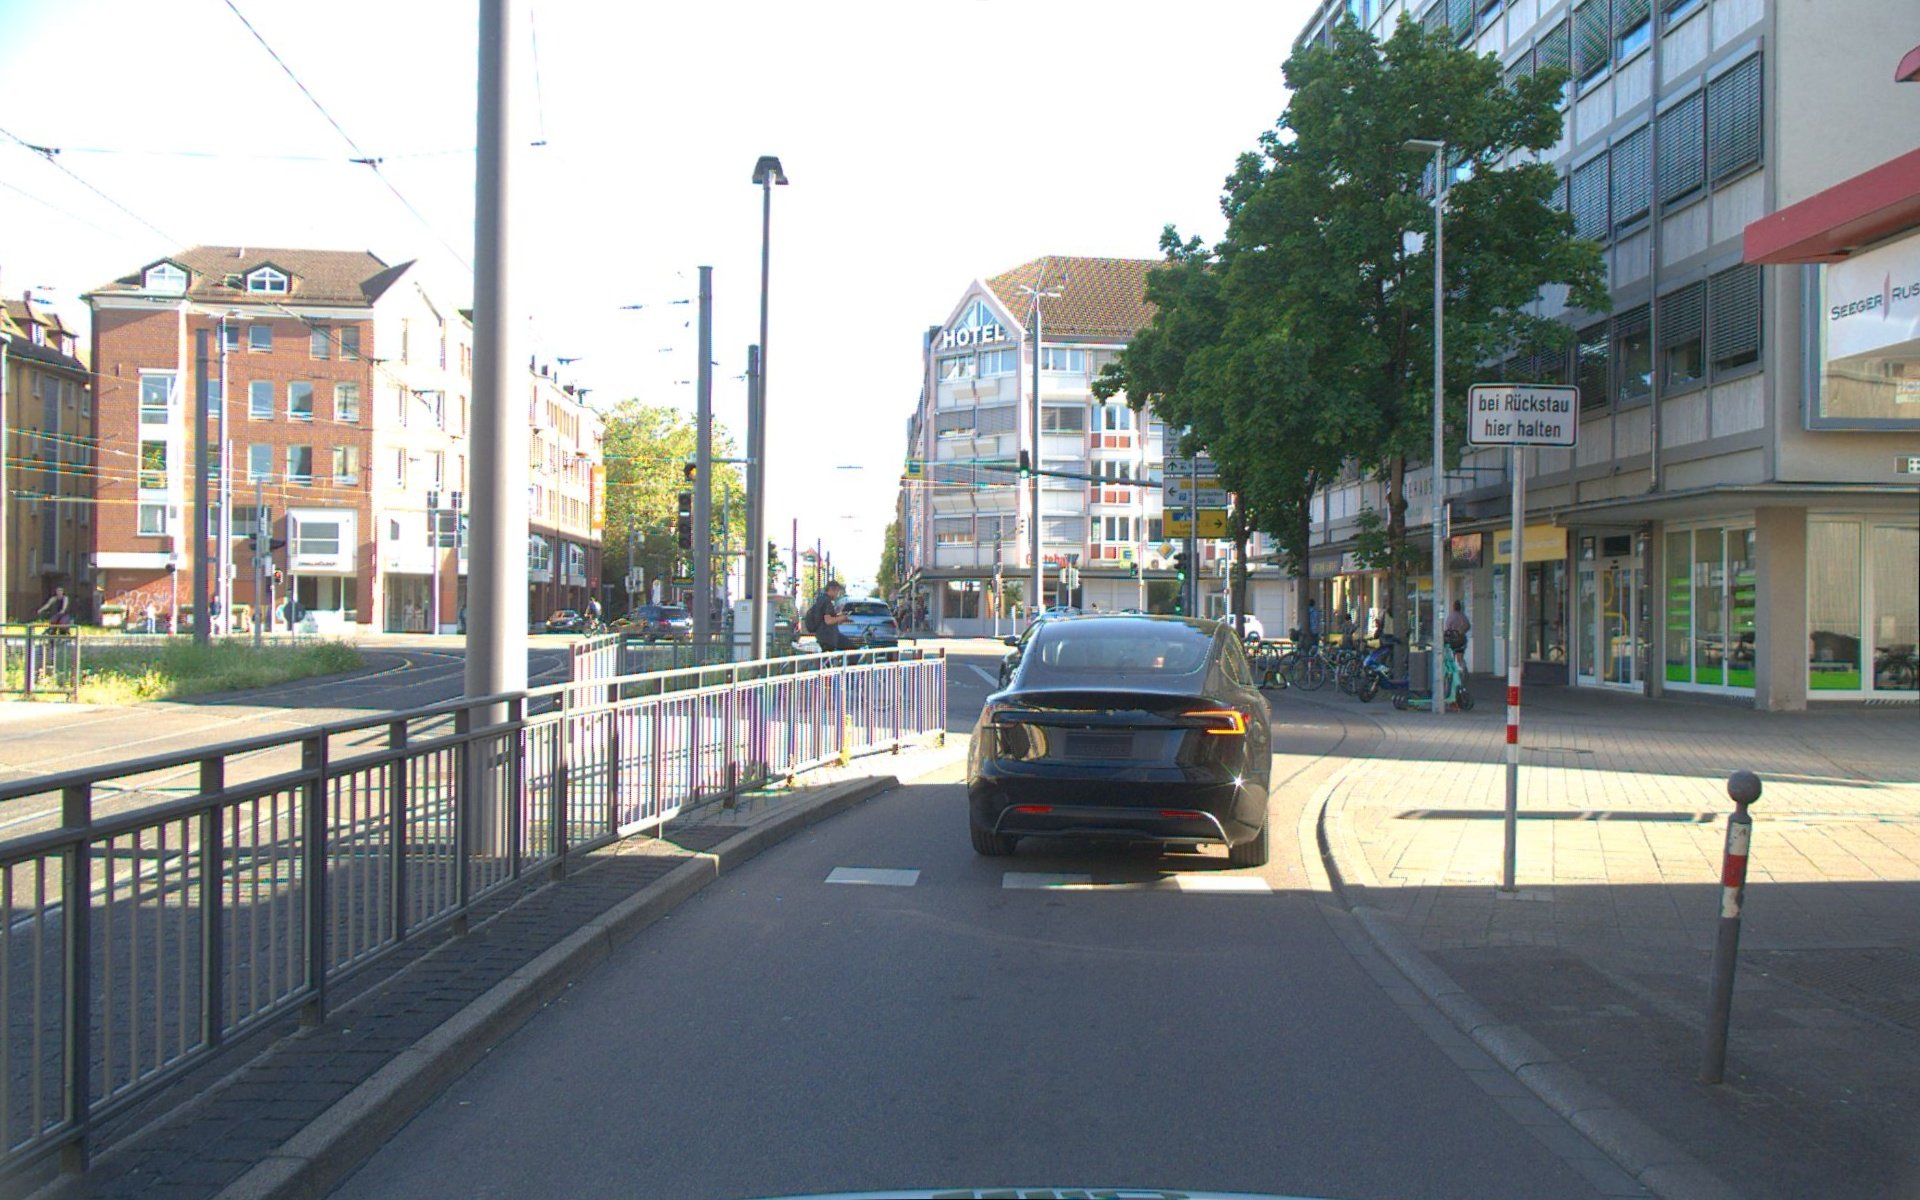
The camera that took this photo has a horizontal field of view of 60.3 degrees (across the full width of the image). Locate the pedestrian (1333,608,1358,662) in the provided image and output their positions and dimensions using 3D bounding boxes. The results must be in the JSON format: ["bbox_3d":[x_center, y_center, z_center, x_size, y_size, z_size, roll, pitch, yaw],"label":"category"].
[{"bbox_3d":[10.465,0.937,44.911,0.631,1.447,0.621,1,-1,11],"label":"pedestrian"}]

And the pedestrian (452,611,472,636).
[{"bbox_3d":[-31.469,1.495,104.538,0.866,1.596,0.863,0,-1,21],"label":"pedestrian"}]

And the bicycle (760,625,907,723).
[{"bbox_3d":[-1.651,0.958,21.610,1.797,1.233,0.636,1,-1,-26],"label":"bicycle"}]

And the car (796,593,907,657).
[{"bbox_3d":[-3.013,0.684,45.441,1.818,1.663,3.455,1,-1,-27],"label":"car"}]

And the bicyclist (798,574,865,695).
[{"bbox_3d":[-1.682,0.447,21.599,0.672,1.550,0.630,1,-1,-25],"label":"bicyclist"}]

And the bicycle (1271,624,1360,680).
[{"bbox_3d":[7.488,1.092,34.862,1.774,1.172,0.435,0,-1,-5],"label":"bicycle"}]

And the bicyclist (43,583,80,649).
[{"bbox_3d":[-23.120,0.421,42.579,0.578,1.678,0.804,1,-1,-10],"label":"bicyclist"}]

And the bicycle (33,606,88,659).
[{"bbox_3d":[-23.123,0.822,42.550,0.563,1.313,2.023,1,-1,-8],"label":"bicycle"}]

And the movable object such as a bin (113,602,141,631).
[{"bbox_3d":[-42.919,0.859,85.225,0.978,1.462,1.093,1,-1,-10],"label":"movable object such as a bin"}]

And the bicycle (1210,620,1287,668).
[{"bbox_3d":[7.316,1.117,41.967,1.851,1.177,0.480,-1,-1,-1],"label":"bicycle"}]

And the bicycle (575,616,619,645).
[{"bbox_3d":[-15.912,1.339,72.518,1.997,1.245,0.627,0,-1,32],"label":"bicycle"}]

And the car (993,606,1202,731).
[{"bbox_3d":[1.713,0.832,22.148,1.732,1.469,4.519,1,0,-9],"label":"car"}]

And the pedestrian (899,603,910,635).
[{"bbox_3d":[-3.152,1.084,94.103,0.614,1.814,0.917,1,-1,-3],"label":"pedestrian"}]

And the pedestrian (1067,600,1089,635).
[{"bbox_3d":[5.512,0.800,77.172,0.766,1.604,0.864,1,0,-16],"label":"pedestrian"}]

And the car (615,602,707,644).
[{"bbox_3d":[-11.473,0.873,63.319,3.411,1.578,1.721,0,-1,41],"label":"car"}]

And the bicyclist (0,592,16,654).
[{"bbox_3d":[-23.177,0.540,39.635,0.650,1.479,0.731,1,-1,2],"label":"bicyclist"}]

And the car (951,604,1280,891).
[{"bbox_3d":[1.200,0.788,10.876,1.752,1.476,3.943,1,0,11],"label":"car"}]

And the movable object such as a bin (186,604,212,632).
[{"bbox_3d":[-39.436,0.938,85.726,0.978,1.462,1.093,1,-1,-10],"label":"movable object such as a bin"}]

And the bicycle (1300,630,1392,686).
[{"bbox_3d":[7.662,1.156,32.866,1.730,1.075,0.458,1,-1,4],"label":"bicycle"}]

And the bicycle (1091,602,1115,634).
[{"bbox_3d":[6.676,0.838,77.351,0.573,1.489,1.678,0,0,-16],"label":"bicycle"}]

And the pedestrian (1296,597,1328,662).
[{"bbox_3d":[9.668,0.809,45.480,0.825,1.751,0.880,1,-1,11],"label":"pedestrian"}]

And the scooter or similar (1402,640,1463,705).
[{"bbox_3d":[7.665,1.181,26.830,0.944,1.045,0.160,0,-1,2],"label":"scooter or similar"}]

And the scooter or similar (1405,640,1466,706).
[{"bbox_3d":[7.660,1.168,26.630,0.936,1.057,0.160,0,-1,2],"label":"scooter or similar"}]

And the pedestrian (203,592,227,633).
[{"bbox_3d":[-32.702,0.552,72.626,0.682,1.740,0.928,1,-1,-7],"label":"pedestrian"}]

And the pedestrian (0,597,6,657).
[{"bbox_3d":[-28.232,0.783,48.132,0.614,1.718,0.703,1,1,-13],"label":"pedestrian"}]

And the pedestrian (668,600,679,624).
[{"bbox_3d":[-18.751,0.776,108.313,0.574,1.558,0.634,1,-1,-18],"label":"pedestrian"}]

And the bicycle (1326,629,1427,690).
[{"bbox_3d":[7.746,1.097,30.761,1.817,1.074,0.398,-1,-1,-12],"label":"bicycle"}]

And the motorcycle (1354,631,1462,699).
[{"bbox_3d":[7.778,1.128,28.741,1.751,1.149,0.504,1,-1,-3],"label":"motorcycle"}]

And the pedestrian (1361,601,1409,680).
[{"bbox_3d":[9.489,0.895,36.959,0.826,1.737,0.880,1,-1,-1],"label":"pedestrian"}]

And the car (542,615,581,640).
[{"bbox_3d":[-24.746,1.682,102.805,1.782,1.479,3.972,-1,-1,-6],"label":"car"}]

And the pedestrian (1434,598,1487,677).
[{"bbox_3d":[10.564,0.791,34.941,0.826,1.630,0.880,1,-1,-1],"label":"pedestrian"}]

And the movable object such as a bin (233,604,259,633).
[{"bbox_3d":[-37.129,0.953,86.066,0.978,1.462,1.093,1,-1,-10],"label":"movable object such as a bin"}]

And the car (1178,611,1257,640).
[{"bbox_3d":[13.366,1.333,85.975,3.767,1.457,1.801,1,-3,-6],"label":"car"}]

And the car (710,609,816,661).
[{"bbox_3d":[-6.660,1.166,55.781,3.720,1.646,1.566,0,-1,45],"label":"car"}]

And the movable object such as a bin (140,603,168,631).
[{"bbox_3d":[-41.676,0.880,85.521,0.978,1.462,1.093,1,-1,-10],"label":"movable object such as a bin"}]

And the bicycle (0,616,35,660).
[{"bbox_3d":[-23.150,0.903,39.842,0.636,1.031,1.885,1,-1,1],"label":"bicycle"}]

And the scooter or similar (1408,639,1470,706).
[{"bbox_3d":[7.656,1.153,26.432,0.944,1.061,0.160,0,-1,2],"label":"scooter or similar"}]

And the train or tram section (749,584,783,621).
[{"bbox_3d":[-19.824,0.314,169.532,2.674,3.604,10.080,1,-1,-3],"label":"train or tram section"}]

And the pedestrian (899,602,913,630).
[{"bbox_3d":[-3.442,1.018,105.763,0.896,1.785,0.839,1,-1,-2],"label":"pedestrian"}]

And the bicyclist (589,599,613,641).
[{"bbox_3d":[-15.712,0.875,72.401,0.812,1.803,0.613,0,-1,31],"label":"bicyclist"}]
